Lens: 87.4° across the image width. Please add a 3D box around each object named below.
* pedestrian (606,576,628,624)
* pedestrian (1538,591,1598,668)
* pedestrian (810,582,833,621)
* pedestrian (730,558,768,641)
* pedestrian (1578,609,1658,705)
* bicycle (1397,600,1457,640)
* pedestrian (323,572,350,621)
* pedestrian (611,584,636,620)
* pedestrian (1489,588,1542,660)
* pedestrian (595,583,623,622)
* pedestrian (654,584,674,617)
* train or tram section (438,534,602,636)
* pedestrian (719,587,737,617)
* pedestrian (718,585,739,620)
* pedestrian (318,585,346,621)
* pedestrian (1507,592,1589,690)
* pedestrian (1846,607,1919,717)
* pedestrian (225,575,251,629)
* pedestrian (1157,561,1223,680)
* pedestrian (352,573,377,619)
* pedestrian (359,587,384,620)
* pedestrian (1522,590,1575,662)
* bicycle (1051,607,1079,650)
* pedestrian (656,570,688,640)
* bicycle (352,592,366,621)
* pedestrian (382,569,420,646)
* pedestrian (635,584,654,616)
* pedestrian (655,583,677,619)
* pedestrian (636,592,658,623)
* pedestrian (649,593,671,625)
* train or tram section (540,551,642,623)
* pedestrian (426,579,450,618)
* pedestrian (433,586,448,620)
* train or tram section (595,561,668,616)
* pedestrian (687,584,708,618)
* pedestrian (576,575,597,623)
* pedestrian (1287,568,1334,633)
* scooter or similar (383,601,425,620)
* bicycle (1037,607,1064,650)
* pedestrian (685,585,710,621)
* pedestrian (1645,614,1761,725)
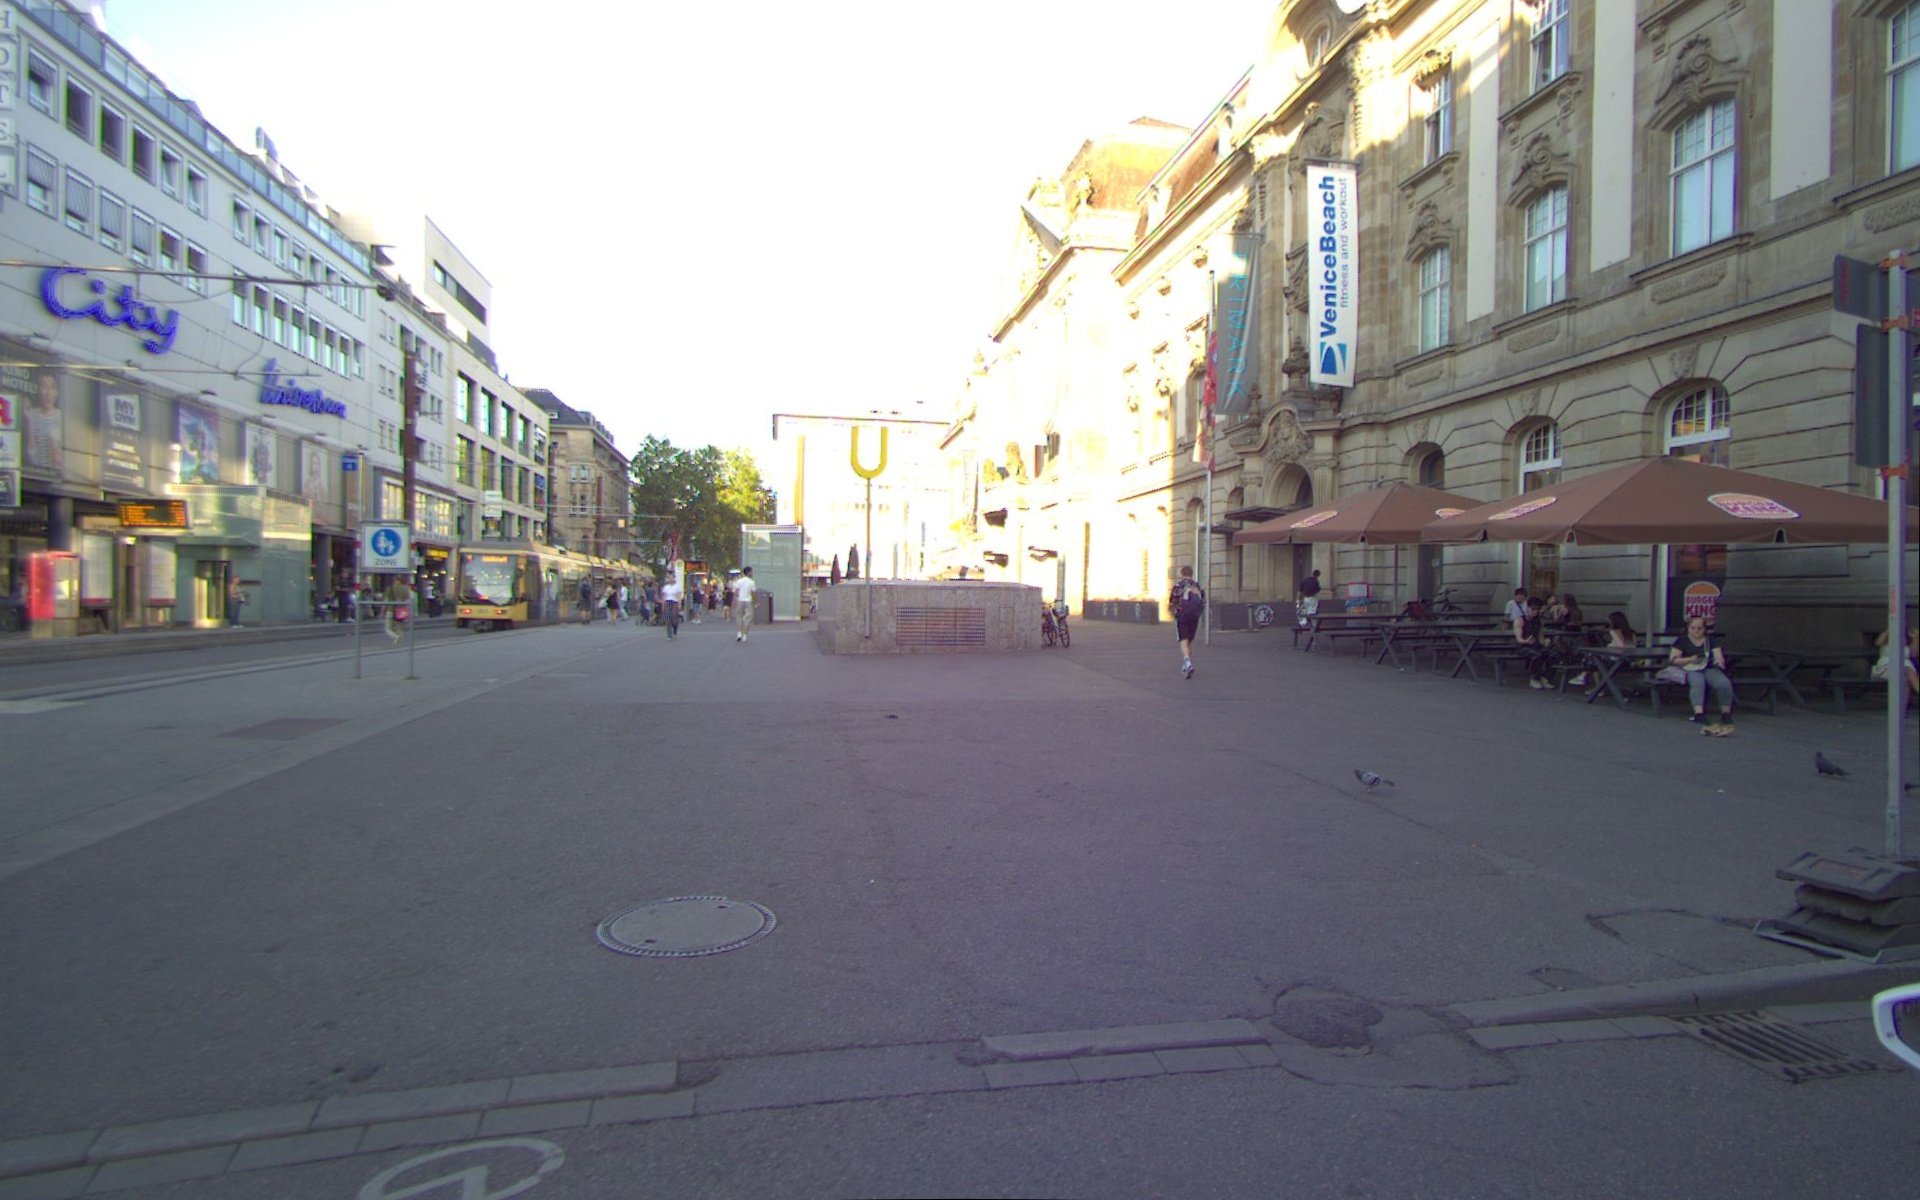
[{"bbox_3d":[-13.343,-0.015,39.069,0.726,1.848,0.815,1,1,-24],"label":"pedestrian"},{"bbox_3d":[10.925,0.519,18.061,0.599,1.326,0.607,1,3,-14],"label":"pedestrian"},{"bbox_3d":[-6.558,0.062,47.632,0.760,1.848,0.850,1,1,17],"label":"pedestrian"},{"bbox_3d":[-5.329,-0.015,25.367,0.758,2.040,0.917,1,0,-3],"label":"pedestrian"},{"bbox_3d":[9.122,0.775,13.945,0.605,1.243,0.701,2,3,4],"label":"pedestrian"},{"bbox_3d":[10.825,0.455,23.280,1.300,0.906,0.409,0,2,-15],"label":"bicycle"},{"bbox_3d":[-22.674,-0.119,36.539,0.704,1.748,0.766,1,0,-41],"label":"pedestrian"},{"bbox_3d":[-15.288,0.089,45.624,0.754,1.600,0.795,1,1,19],"label":"pedestrian"},{"bbox_3d":[10.561,0.452,19.098,0.584,1.326,0.580,1,3,-14],"label":"pedestrian"},{"bbox_3d":[-14.525,0.098,41.592,0.754,1.600,0.795,1,1,19],"label":"pedestrian"},{"bbox_3d":[-15.439,0.019,52.400,0.779,1.683,0.769,1,1,2],"label":"pedestrian"},{"bbox_3d":[-17.248,-0.552,40.749,2.759,3.364,14.479,1,0,-10],"label":"train or tram section"},{"bbox_3d":[-12.911,0.102,55.911,0.779,1.683,0.769,1,1,2],"label":"pedestrian"},{"bbox_3d":[-11.174,0.105,48.460,0.779,1.683,0.769,1,1,2],"label":"pedestrian"},{"bbox_3d":[-24.838,0.135,39.745,0.697,1.397,0.719,0,0,-11],"label":"pedestrian"},{"bbox_3d":[8.896,0.604,15.225,0.790,1.402,0.653,2,3,0],"label":"pedestrian"},{"bbox_3d":[12.114,0.787,12.983,0.651,1.327,0.773,1,4,14],"label":"pedestrian"},{"bbox_3d":[-22.062,0.063,30.708,0.505,1.639,0.503,1,0,-19],"label":"pedestrian"},{"bbox_3d":[3.660,0.311,16.053,0.796,1.848,0.805,0,1,-6],"label":"pedestrian"},{"bbox_3d":[-22.789,-0.136,38.412,0.703,1.748,0.767,1,0,-39],"label":"pedestrian"},{"bbox_3d":[-25.291,0.142,43.158,0.697,1.397,0.719,0,0,-11],"label":"pedestrian"},{"bbox_3d":[11.221,0.484,19.160,0.583,1.326,0.580,1,3,-12],"label":"pedestrian"},{"bbox_3d":[2.277,0.609,21.823,0.311,0.879,0.998,0,1,-11],"label":"bicycle"},{"bbox_3d":[-7.740,0.127,27.010,0.762,1.848,0.937,-1,1,-13],"label":"pedestrian"},{"bbox_3d":[-25.300,0.261,42.287,0.430,1.157,1.603,0,1,-34],"label":"bicycle"},{"bbox_3d":[-12.953,0.178,23.281,0.712,1.748,0.703,1,0,-32],"label":"pedestrian"},{"bbox_3d":[-17.254,-0.004,54.988,0.754,1.683,0.795,1,1,2],"label":"pedestrian"},{"bbox_3d":[-13.990,0.031,47.802,0.779,1.683,0.769,1,1,2],"label":"pedestrian"},{"bbox_3d":[-12.699,0.286,40.743,0.781,1.238,0.767,1,1,-14],"label":"pedestrian"},{"bbox_3d":[-11.977,0.347,40.059,0.781,1.238,0.767,1,1,-14],"label":"pedestrian"},{"bbox_3d":[-19.812,-0.668,54.997,2.759,3.364,14.479,1,0,-10],"label":"train or tram section"},{"bbox_3d":[-23.796,-0.046,45.785,0.761,1.748,0.708,0,0,-10],"label":"pedestrian"},{"bbox_3d":[-26.392,0.155,51.031,0.593,1.750,0.606,1,0,-17],"label":"pedestrian"},{"bbox_3d":[-22.386,-0.779,69.257,2.759,3.364,14.479,1,0,-10],"label":"train or tram section"},{"bbox_3d":[-13.092,0.066,50.120,0.779,1.683,0.769,1,1,2],"label":"pedestrian"},{"bbox_3d":[-14.600,-0.026,39.246,0.726,1.848,0.815,1,1,-24],"label":"pedestrian"},{"bbox_3d":[8.794,0.006,25.194,0.837,1.587,0.846,3,3,41],"label":"pedestrian"},{"bbox_3d":[-24.177,0.459,43.707,0.549,0.842,1.523,0,-1,28],"label":"scooter or similar"},{"bbox_3d":[1.961,0.607,21.763,0.311,0.879,0.998,0,1,-11],"label":"bicycle"},{"bbox_3d":[-12.167,0.136,46.558,0.783,1.683,0.766,1,1,40],"label":"pedestrian"},{"bbox_3d":[9.195,0.840,12.462,0.765,1.259,0.828,2,3,4],"label":"pedestrian"}]
